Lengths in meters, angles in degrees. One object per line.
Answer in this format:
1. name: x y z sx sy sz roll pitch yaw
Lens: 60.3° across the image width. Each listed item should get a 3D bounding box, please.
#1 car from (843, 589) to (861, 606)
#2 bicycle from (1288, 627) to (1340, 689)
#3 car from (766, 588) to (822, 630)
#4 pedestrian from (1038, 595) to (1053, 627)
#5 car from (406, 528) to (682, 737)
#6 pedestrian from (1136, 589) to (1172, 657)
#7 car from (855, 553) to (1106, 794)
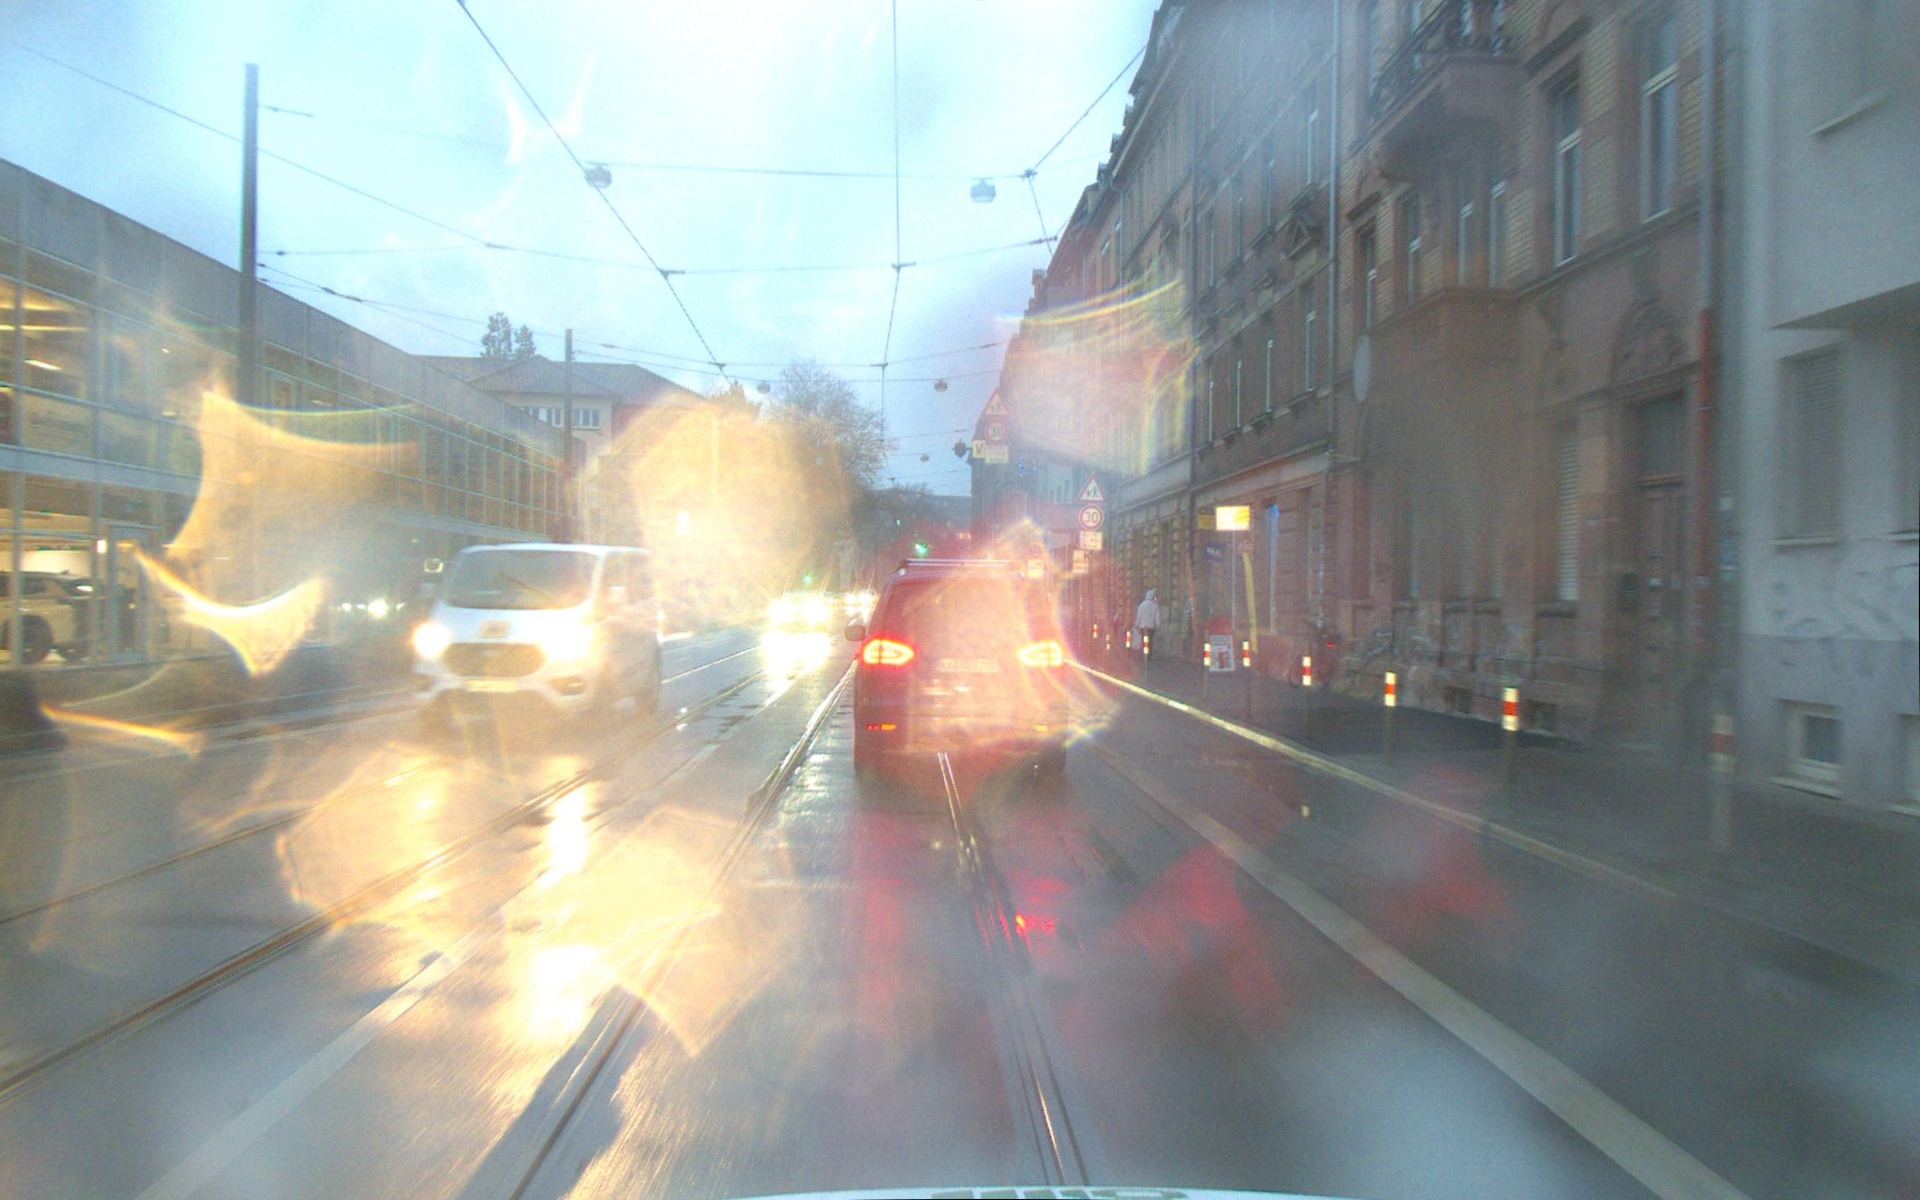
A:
1. car: -11.638 -0.288 178.672 1.838 1.739 4.758 -1 0 -3
2. bicycle: 5.701 0.925 26.699 0.389 0.927 1.866 0 0 -2
3. car: -6.558 0.333 65.770 1.803 1.606 4.441 0 0 -1
4. pedestrian: 3.799 0.475 73.856 0.588 1.401 0.728 1 -1 -2
5. car: -4.528 0.335 18.791 1.953 2.049 4.684 1 0 -1
6. pedestrian: 4.691 0.559 39.969 0.770 1.625 0.741 0 0 -1
7. car: 0.188 0.579 15.008 1.952 1.874 4.000 1 0 1
